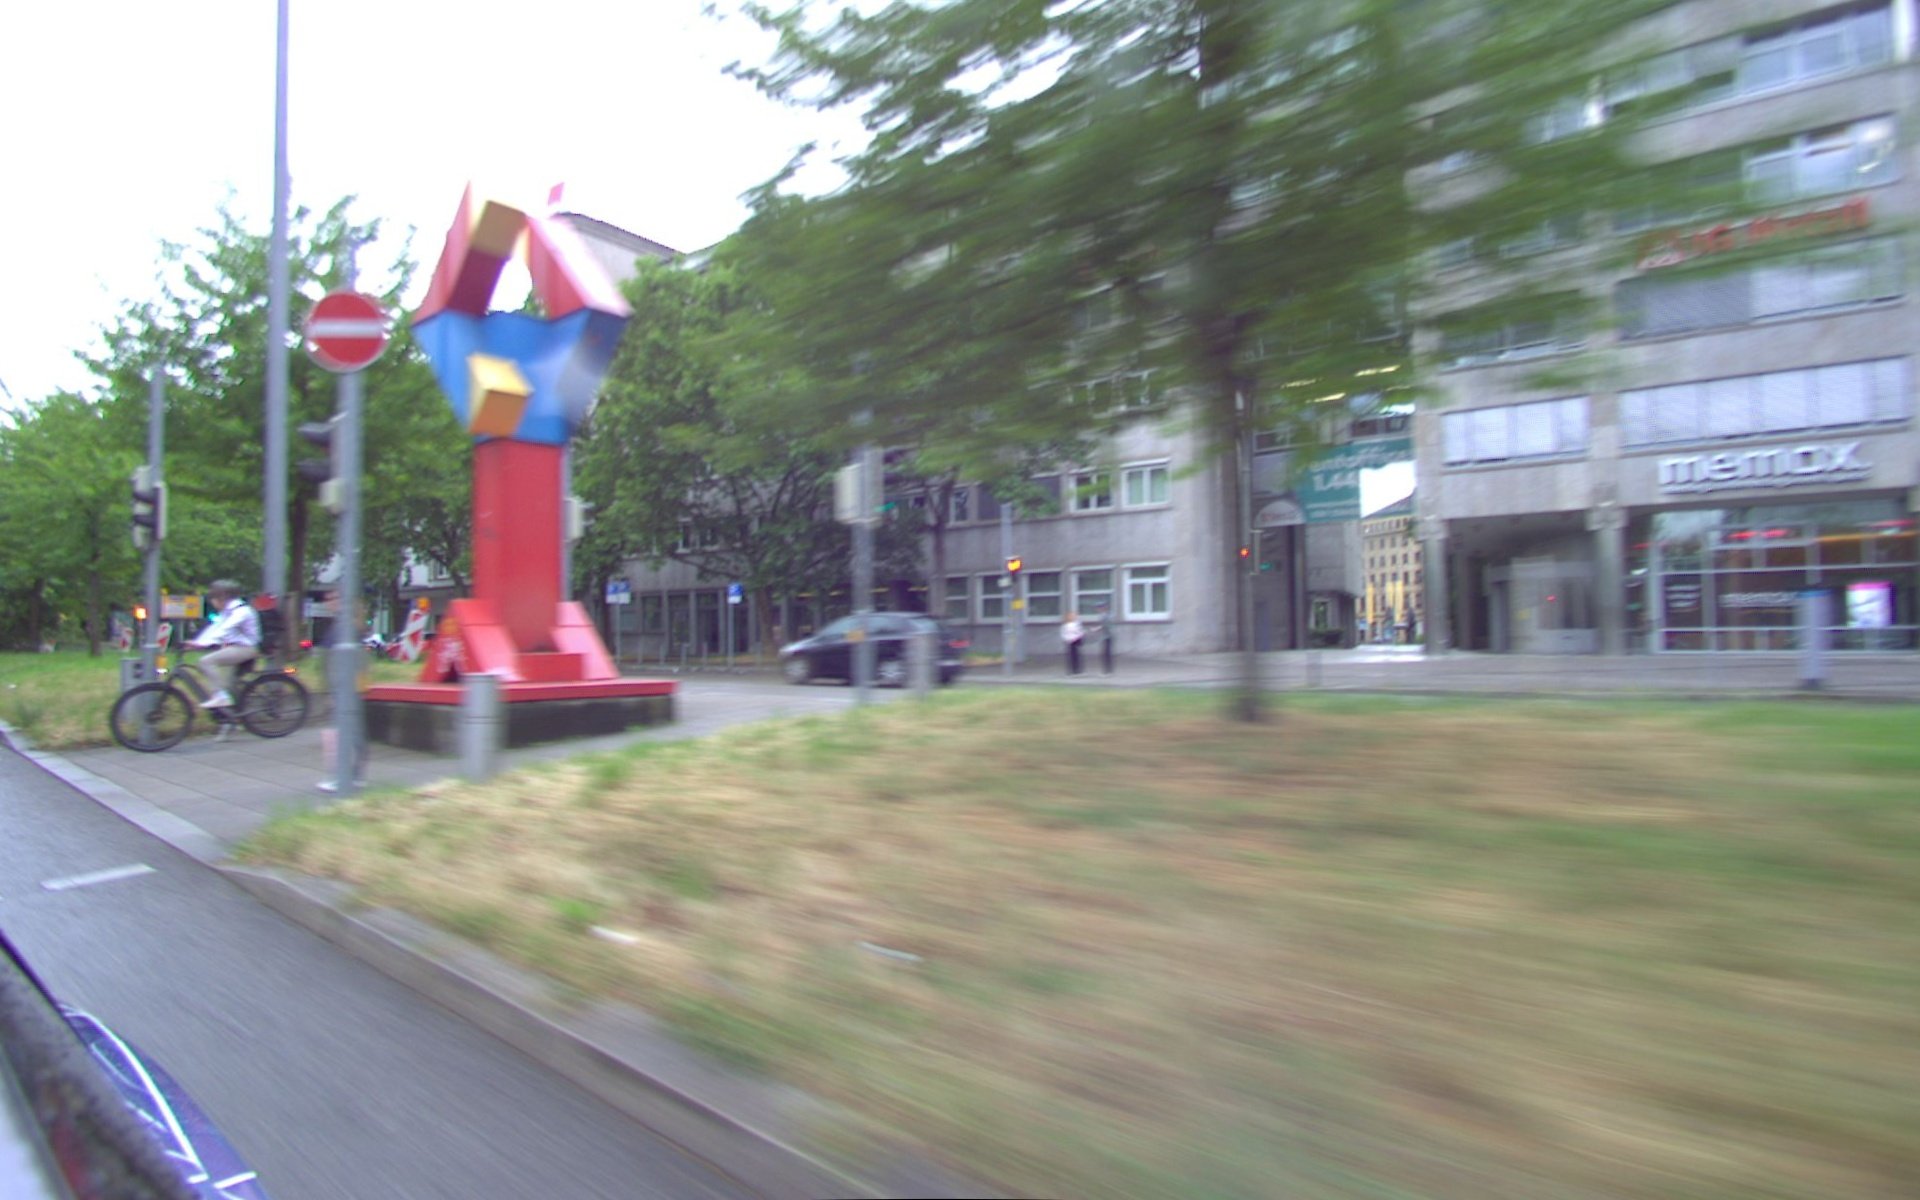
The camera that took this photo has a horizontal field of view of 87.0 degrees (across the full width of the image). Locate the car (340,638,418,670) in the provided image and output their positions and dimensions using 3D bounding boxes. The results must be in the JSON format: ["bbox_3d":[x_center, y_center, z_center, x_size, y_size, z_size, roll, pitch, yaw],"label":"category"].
[{"bbox_3d":[-28.198,2.594,49.057,4.570,1.498,1.768,-2,-3,39],"label":"car"}]

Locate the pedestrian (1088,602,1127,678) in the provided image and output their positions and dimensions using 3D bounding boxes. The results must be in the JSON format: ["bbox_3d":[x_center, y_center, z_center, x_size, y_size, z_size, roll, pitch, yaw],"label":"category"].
[{"bbox_3d":[3.546,0.954,24.316,0.721,1.801,0.522,-2,-2,43],"label":"pedestrian"}]

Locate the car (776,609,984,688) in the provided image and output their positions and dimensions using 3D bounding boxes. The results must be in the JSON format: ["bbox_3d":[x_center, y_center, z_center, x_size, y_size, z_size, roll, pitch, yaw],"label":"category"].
[{"bbox_3d":[-1.639,0.974,20.127,3.994,1.425,1.772,-2,-4,38],"label":"car"}]

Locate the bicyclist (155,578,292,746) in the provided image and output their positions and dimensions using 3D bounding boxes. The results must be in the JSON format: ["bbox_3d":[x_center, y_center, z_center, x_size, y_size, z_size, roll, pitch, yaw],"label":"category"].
[{"bbox_3d":[-8.319,0.654,11.437,0.812,1.762,1.064,0,2,43],"label":"bicyclist"}]

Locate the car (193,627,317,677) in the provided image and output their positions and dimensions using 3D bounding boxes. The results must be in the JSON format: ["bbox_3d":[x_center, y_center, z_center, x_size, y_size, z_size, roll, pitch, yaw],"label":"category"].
[{"bbox_3d":[-22.605,1.669,32.406,4.716,1.478,1.773,-2,-4,36],"label":"car"}]

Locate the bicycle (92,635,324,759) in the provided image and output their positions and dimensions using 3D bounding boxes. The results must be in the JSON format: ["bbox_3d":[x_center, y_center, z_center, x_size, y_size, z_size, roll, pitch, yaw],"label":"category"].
[{"bbox_3d":[-8.382,1.029,11.350,0.777,1.148,1.950,-2,0,42],"label":"bicycle"}]

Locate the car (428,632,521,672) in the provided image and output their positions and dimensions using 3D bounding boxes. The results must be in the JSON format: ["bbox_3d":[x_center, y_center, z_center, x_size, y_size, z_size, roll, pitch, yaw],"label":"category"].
[{"bbox_3d":[-20.725,2.208,43.121,4.462,1.634,1.843,-2,-3,39],"label":"car"}]

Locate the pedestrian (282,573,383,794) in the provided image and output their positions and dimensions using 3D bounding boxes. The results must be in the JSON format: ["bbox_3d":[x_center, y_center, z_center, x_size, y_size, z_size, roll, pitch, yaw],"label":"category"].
[{"bbox_3d":[-5.093,0.651,8.215,0.721,1.698,0.522,-2,-2,43],"label":"pedestrian"}]

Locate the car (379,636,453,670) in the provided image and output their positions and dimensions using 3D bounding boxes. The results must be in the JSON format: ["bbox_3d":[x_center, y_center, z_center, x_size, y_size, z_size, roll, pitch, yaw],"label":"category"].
[{"bbox_3d":[-24.779,2.392,46.054,3.688,1.514,1.669,-2,-3,39],"label":"car"}]

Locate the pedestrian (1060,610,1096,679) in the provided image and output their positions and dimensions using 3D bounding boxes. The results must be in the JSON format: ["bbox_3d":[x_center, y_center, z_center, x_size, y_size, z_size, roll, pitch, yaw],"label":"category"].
[{"bbox_3d":[2.879,1.079,24.709,0.620,1.641,0.599,-2,-2,43],"label":"pedestrian"}]
